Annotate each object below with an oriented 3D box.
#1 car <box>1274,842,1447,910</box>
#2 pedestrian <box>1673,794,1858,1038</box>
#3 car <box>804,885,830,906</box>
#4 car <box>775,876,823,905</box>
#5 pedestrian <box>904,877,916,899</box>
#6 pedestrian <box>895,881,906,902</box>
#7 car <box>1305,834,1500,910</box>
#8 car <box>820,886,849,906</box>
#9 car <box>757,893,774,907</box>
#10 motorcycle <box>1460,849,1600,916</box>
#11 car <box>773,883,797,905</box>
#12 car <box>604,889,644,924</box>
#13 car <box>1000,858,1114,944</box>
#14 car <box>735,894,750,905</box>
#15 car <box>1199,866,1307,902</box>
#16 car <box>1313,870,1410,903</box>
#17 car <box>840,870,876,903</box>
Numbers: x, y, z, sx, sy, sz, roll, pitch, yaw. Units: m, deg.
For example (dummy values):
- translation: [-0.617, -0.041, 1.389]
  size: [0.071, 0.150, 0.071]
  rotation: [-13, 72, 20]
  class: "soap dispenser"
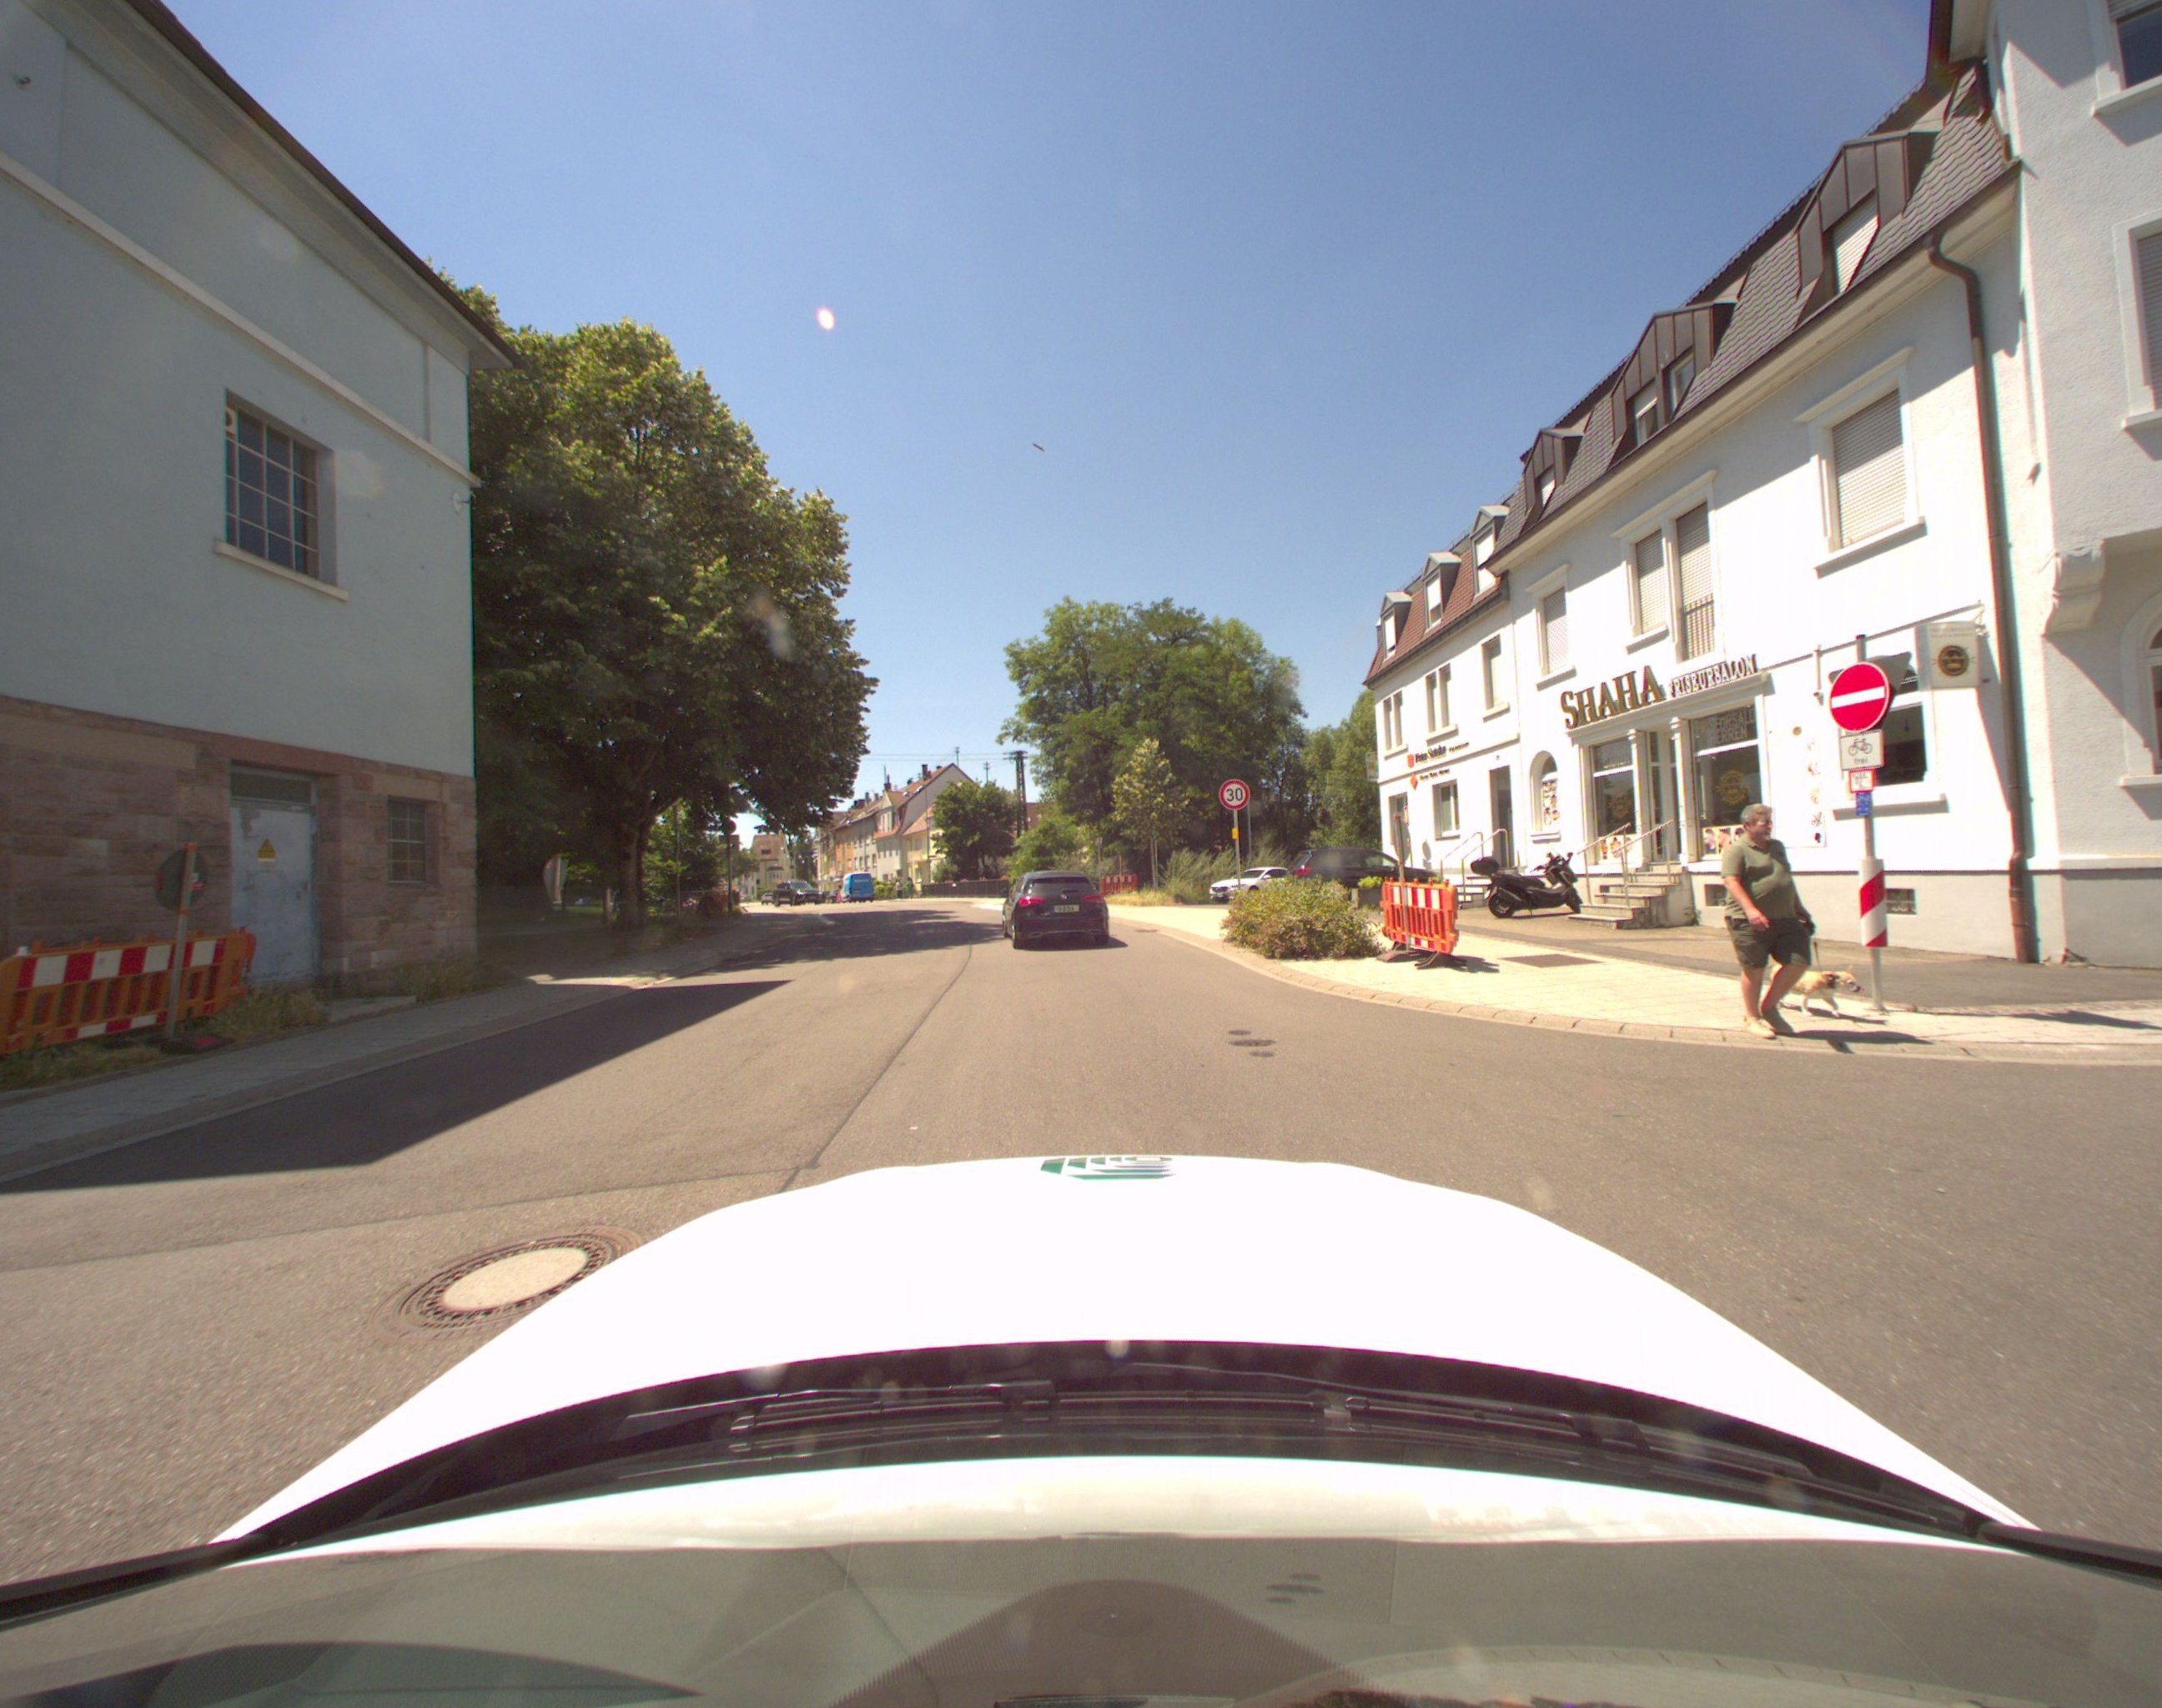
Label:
- translation: [7.558, 0.611, 22.287]
  size: [4.063, 1.716, 1.855]
  rotation: [-1, -2, -2]
  class: "car"
- translation: [5.413, 0.467, 6.502]
  size: [0.741, 1.796, 0.845]
  rotation: [-2, 0, 8]
  class: "pedestrian"
- translation: [-27.564, 4.311, 84.949]
  size: [2.004, 2.014, 3.966]
  rotation: [-1, -1, -26]
  class: "car"
- translation: [-19.226, 2.512, 55.419]
  size: [1.755, 1.772, 4.289]
  rotation: [-3, -1, -37]
  class: "car"
- translation: [-13.520, 2.703, 64.378]
  size: [0.666, 1.741, 0.693]
  rotation: [0, -3, -42]
  class: "pedestrian"
- translation: [-14.415, 2.975, 64.997]
  size: [0.617, 1.613, 0.829]
  rotation: [-1, -3, -30]
  class: "pedestrian"
- translation: [7.836, 0.455, 20.108]
  size: [4.063, 1.716, 1.855]
  rotation: [-1, -2, -2]
  class: "car"
- translation: [-23.415, 3.950, 77.221]
  size: [2.004, 1.746, 4.292]
  rotation: [-1, -1, -25]
  class: "car"
- translation: [-52.276, 7.601, 134.937]
  size: [2.007, 2.014, 3.960]
  rotation: [-1, -1, -32]
  class: "car"
- translation: [9.168, 0.580, 16.706]
  size: [2.369, 1.275, 0.856]
  rotation: [-1, -1, -1]
  class: "motorcycle"
- translation: [-34.710, 4.636, 95.326]
  size: [2.256, 2.344, 4.812]
  rotation: [-1, -1, -25]
  class: "car"
- translation: [-29.421, 3.336, 52.531]
  size: [2.004, 2.014, 3.964]
  rotation: [-1, -1, -27]
  class: "car"
- translation: [-0.614, 0.965, 16.464]
  size: [1.827, 1.442, 3.987]
  rotation: [-2, -4, -8]
  class: "car"
- translation: [-52.578, 7.024, 126.461]
  size: [2.003, 1.660, 3.966]
  rotation: [1, -3, -25]
  class: "car"
- translation: [6.842, 1.142, 32.190]
  size: [4.221, 1.350, 1.840]
  rotation: [1, -1, -37]
  class: "car"
- translation: [12.440, 1.435, 36.071]
  size: [4.218, 1.350, 1.841]
  rotation: [0, -4, -33]
  class: "car"
- translation: [-18.492, 2.697, 67.375]
  size: [2.143, 2.542, 4.610]
  rotation: [-1, -2, -24]
  class: "car"
